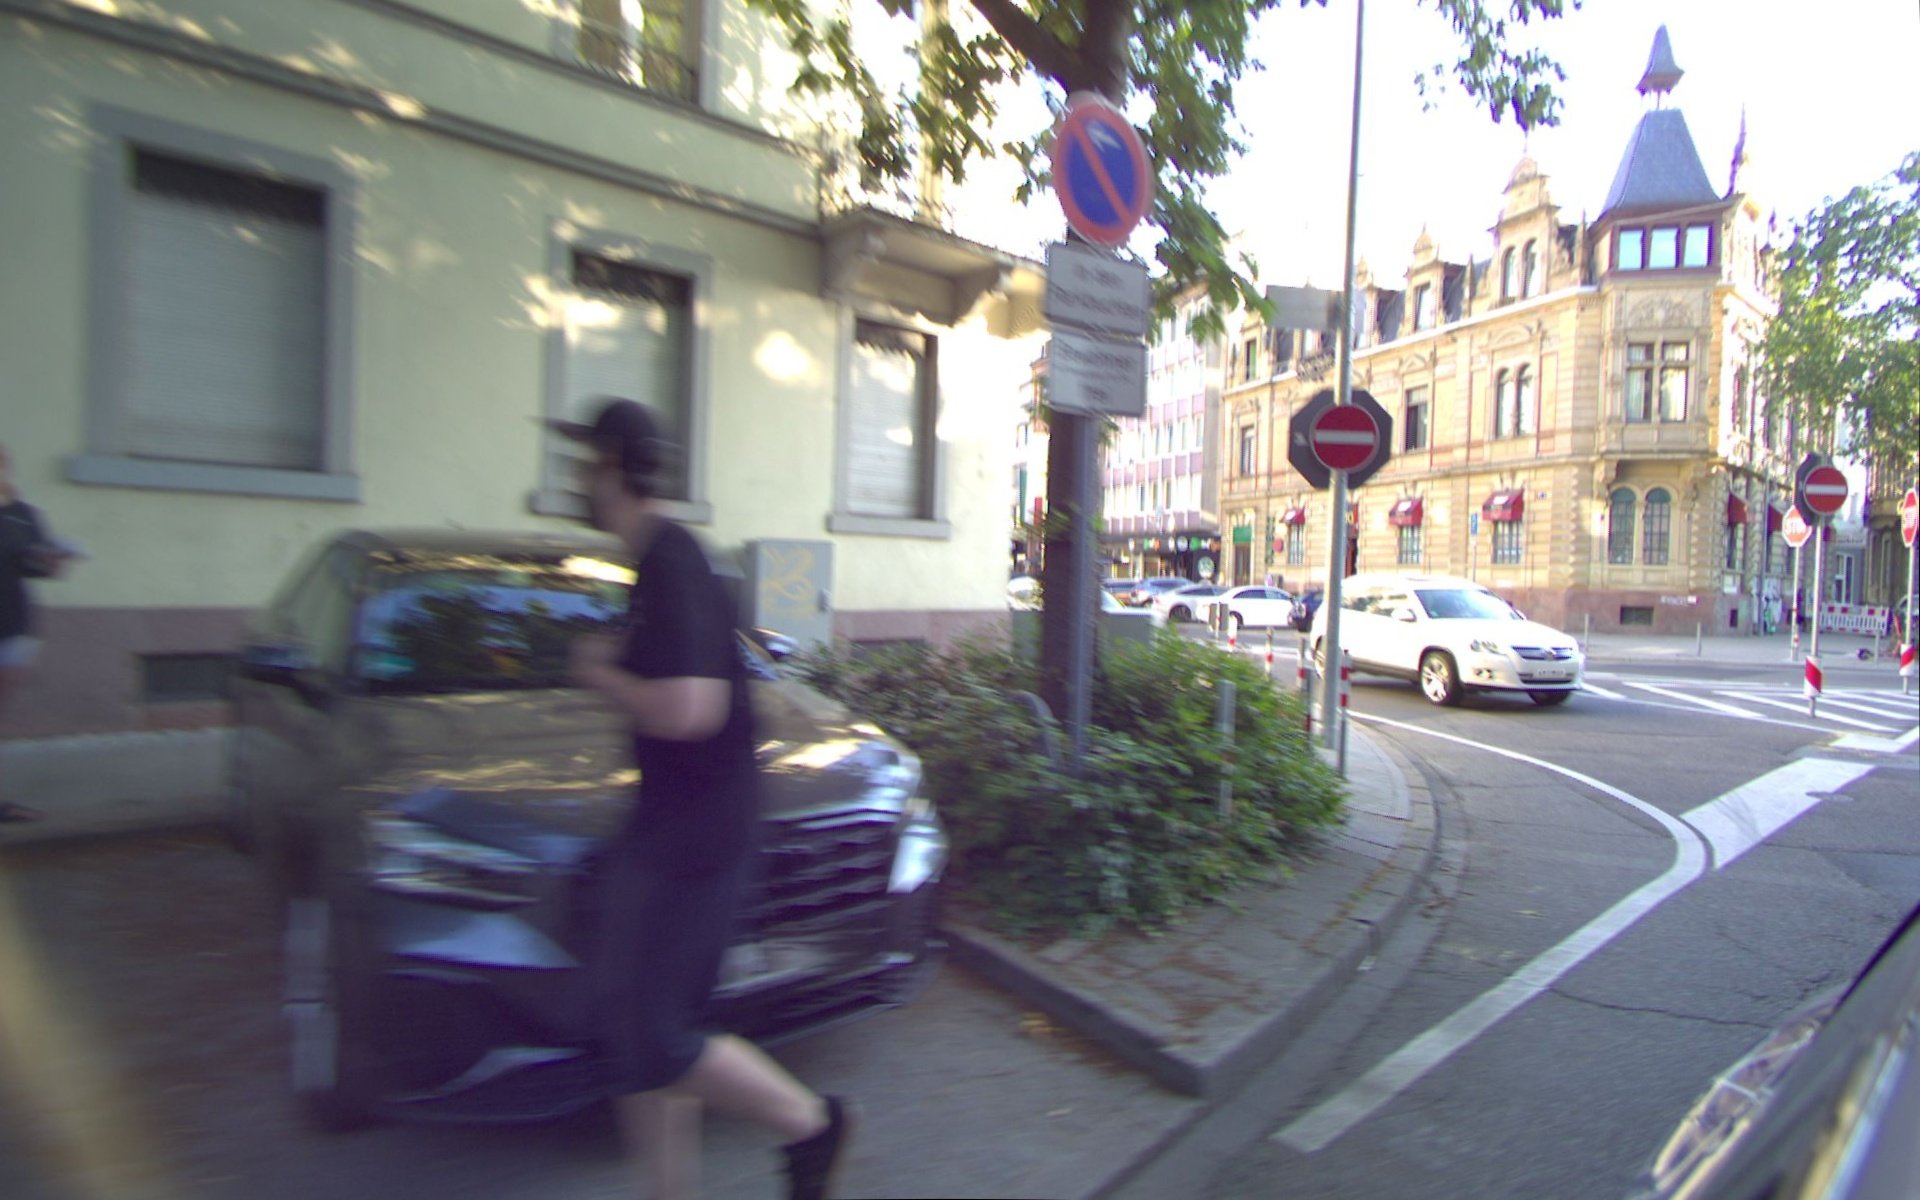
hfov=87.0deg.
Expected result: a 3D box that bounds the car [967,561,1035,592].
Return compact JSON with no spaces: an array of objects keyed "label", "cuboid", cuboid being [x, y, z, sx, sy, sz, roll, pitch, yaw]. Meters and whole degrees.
[{"label":"car","cuboid":[2.386,-1.377,59.729,3.782,1.812,2.002,0,1,-5]}]

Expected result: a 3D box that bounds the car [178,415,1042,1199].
[{"label":"car","cuboid":[-1.795,0.367,3.997,1.817,1.509,4.116,2,1,-41]}]

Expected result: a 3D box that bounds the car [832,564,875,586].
[{"label":"car","cuboid":[-10.551,-2.454,100.457,3.915,2.039,1.876,1,1,-16]}]

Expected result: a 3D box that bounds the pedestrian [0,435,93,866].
[{"label":"pedestrian","cuboid":[-4.269,0.181,4.318,0.768,1.727,0.946,2,0,-38]}]

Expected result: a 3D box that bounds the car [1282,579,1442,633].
[{"label":"car","cuboid":[12.301,0.169,31.200,4.207,1.430,1.709,-2,1,8]}]

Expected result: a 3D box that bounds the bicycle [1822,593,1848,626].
[{"label":"bicycle","cuboid":[32.653,0.347,37.776,1.694,1.226,0.386,0,2,-38]}]

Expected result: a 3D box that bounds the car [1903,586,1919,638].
[{"label":"car","cuboid":[38.625,0.566,37.949,1.917,1.938,4.549,1,3,-42]}]

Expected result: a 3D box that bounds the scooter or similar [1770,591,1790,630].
[{"label":"scooter or similar","cuboid":[26.159,0.339,32.290,1.073,1.209,0.251,1,1,-39]}]

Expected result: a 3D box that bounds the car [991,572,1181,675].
[{"label":"car","cuboid":[2.055,0.316,17.921,1.828,1.562,4.434,1,1,-14]}]

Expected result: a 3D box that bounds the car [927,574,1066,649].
[{"label":"car","cuboid":[0.693,0.190,22.843,1.738,1.386,4.528,4,1,-16]}]

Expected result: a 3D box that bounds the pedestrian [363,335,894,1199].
[{"label":"pedestrian","cuboid":[-0.586,0.505,2.050,0.782,1.892,0.751,1,1,3]}]

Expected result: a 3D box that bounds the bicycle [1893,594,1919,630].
[{"label":"bicycle","cuboid":[34.059,0.419,36.432,1.694,1.250,0.386,0,2,-38]}]

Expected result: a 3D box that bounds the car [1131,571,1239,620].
[{"label":"car","cuboid":[8.960,-0.195,40.556,4.073,1.747,1.775,3,1,11]}]

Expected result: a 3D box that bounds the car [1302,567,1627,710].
[{"label":"car","cuboid":[6.737,0.385,14.137,1.856,1.676,4.213,0,2,-11]}]

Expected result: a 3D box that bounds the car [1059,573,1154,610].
[{"label":"car","cuboid":[6.813,-0.412,47.404,4.056,1.580,1.782,2,1,-4]}]

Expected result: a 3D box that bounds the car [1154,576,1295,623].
[{"label":"car","cuboid":[9.751,-0.022,37.640,4.898,1.476,1.869,3,0,12]}]

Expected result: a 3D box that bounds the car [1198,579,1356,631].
[{"label":"car","cuboid":[10.654,0.134,34.393,4.916,1.475,1.980,3,2,13]}]

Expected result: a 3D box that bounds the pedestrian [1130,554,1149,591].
[{"label":"pedestrian","cuboid":[8.933,-1.376,50.325,0.621,1.785,0.737,1,1,-18]}]

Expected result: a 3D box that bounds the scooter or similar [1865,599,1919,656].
[{"label":"scooter or similar","cuboid":[21.638,0.625,23.188,1.252,1.259,0.505,2,1,7]}]

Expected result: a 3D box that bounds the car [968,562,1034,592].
[{"label":"car","cuboid":[2.497,-1.427,62.391,3.782,1.812,2.002,0,1,-5]}]

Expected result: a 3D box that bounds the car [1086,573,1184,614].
[{"label":"car","cuboid":[7.570,-0.320,43.866,4.073,1.559,1.775,3,2,11]}]
